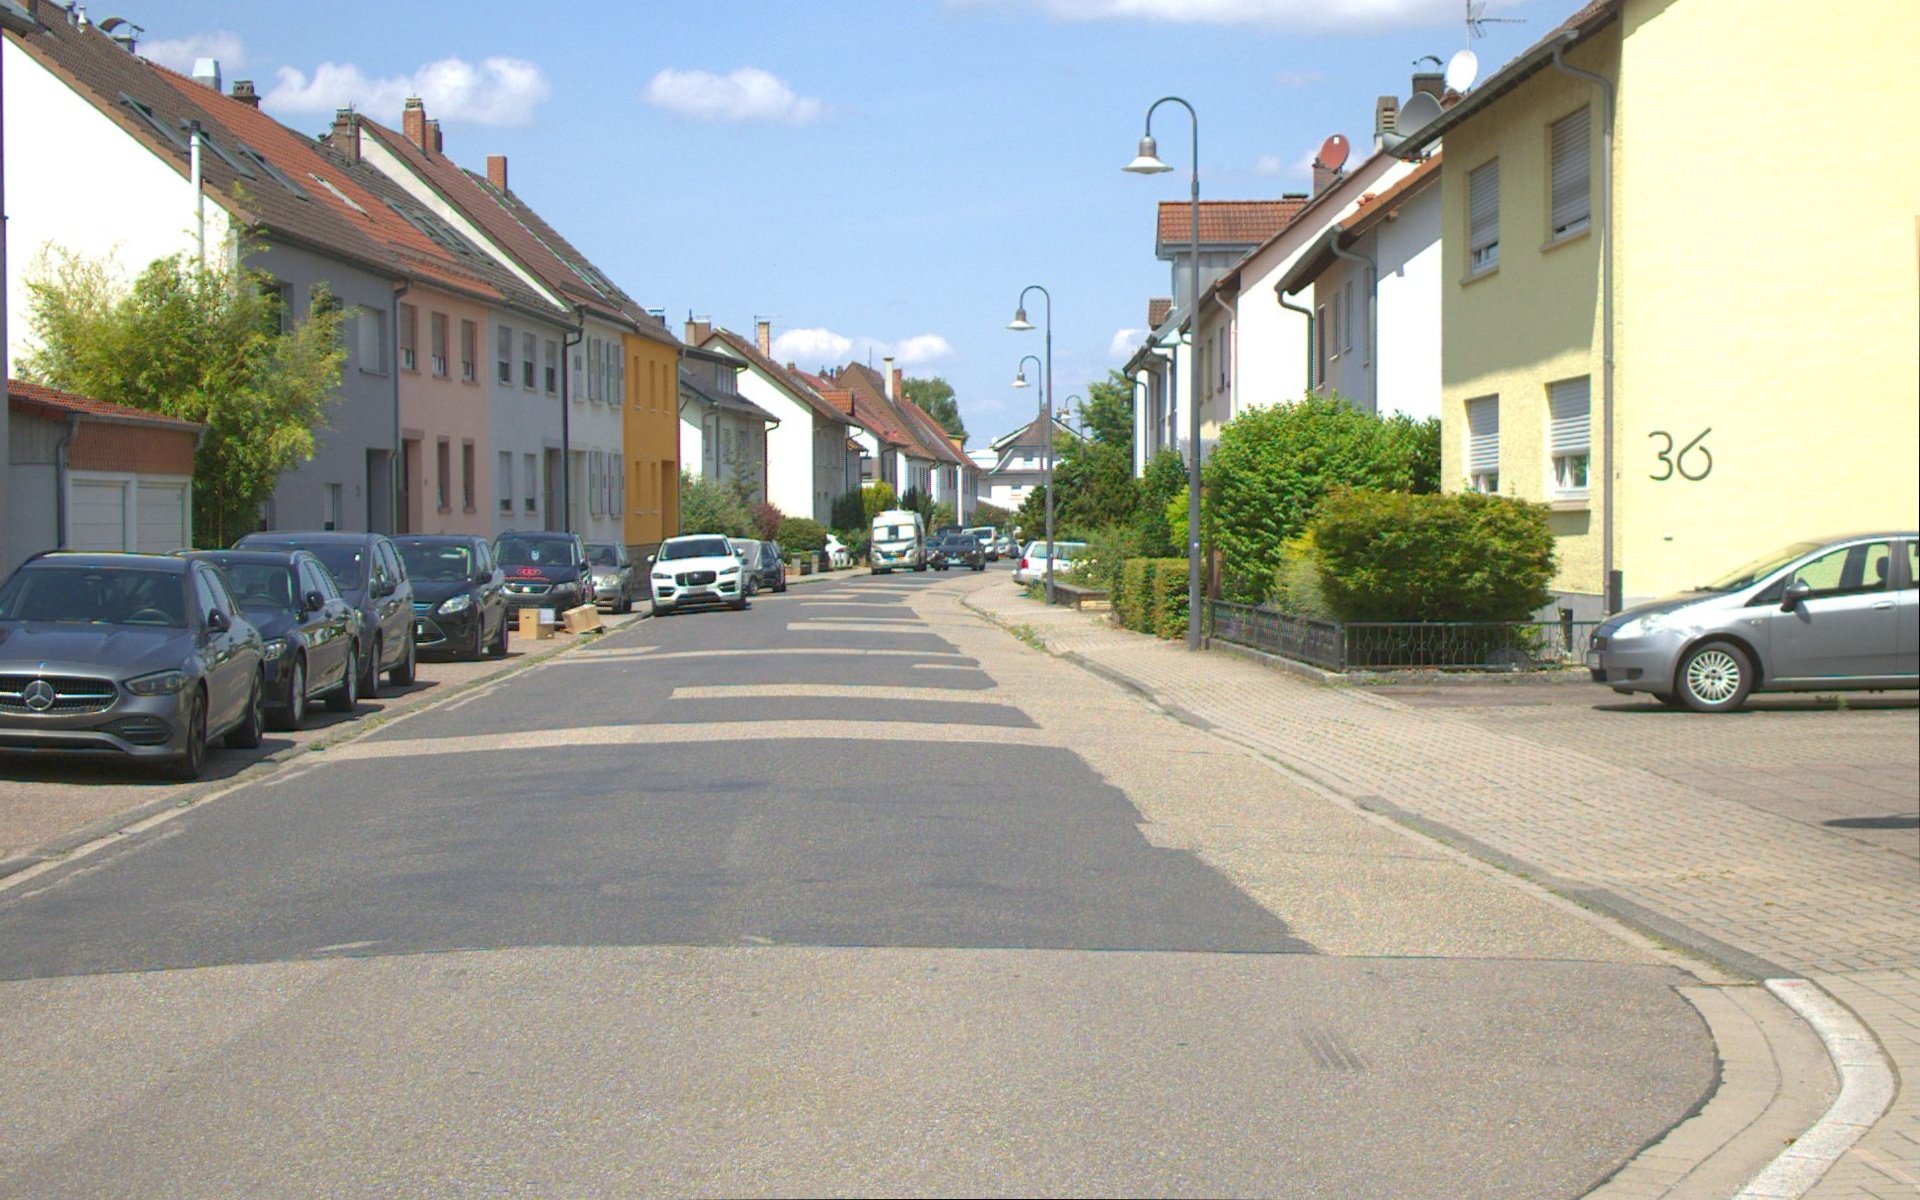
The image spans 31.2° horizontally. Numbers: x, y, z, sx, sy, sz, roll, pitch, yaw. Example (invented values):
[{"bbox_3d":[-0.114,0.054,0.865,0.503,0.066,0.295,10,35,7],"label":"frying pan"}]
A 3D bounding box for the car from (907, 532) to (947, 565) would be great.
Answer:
[{"bbox_3d":[-1.559,-2.453,164.760,1.691,1.498,3.771,1,0,3],"label":"car"}]

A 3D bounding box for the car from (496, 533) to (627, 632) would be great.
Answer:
[{"bbox_3d":[-6.873,-0.329,59.631,1.810,1.603,4.000,2,1,-1],"label":"car"}]

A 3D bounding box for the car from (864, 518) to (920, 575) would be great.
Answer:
[{"bbox_3d":[-2.811,-2.211,142.878,2.045,2.304,3.771,1,0,3],"label":"car"}]

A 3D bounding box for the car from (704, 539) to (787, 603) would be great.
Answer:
[{"bbox_3d":[-5.854,-0.801,94.209,1.850,1.653,4.000,2,1,2],"label":"car"}]

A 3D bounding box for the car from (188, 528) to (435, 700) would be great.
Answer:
[{"bbox_3d":[-6.563,0.106,35.168,1.779,1.603,4.000,2,1,-1],"label":"car"}]

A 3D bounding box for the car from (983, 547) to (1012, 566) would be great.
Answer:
[{"bbox_3d":[2.351,-2.737,214.766,1.691,1.129,3.771,1,0,3],"label":"car"}]

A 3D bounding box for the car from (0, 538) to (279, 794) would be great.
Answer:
[{"bbox_3d":[-5.960,0.384,23.875,1.816,1.428,4.140,3,2,-4],"label":"car"}]

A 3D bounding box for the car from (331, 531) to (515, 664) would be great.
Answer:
[{"bbox_3d":[-6.959,-0.064,44.869,1.779,1.603,4.000,2,1,-1],"label":"car"}]

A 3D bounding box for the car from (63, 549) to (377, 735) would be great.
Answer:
[{"bbox_3d":[-6.255,0.305,29.501,1.816,1.429,4.140,2,1,-1],"label":"car"}]

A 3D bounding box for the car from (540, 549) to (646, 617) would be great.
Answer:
[{"bbox_3d":[-7.633,-0.368,71.796,1.672,1.331,3.722,2,1,2],"label":"car"}]

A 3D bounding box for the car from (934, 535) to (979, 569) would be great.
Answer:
[{"bbox_3d":[-0.143,-1.974,142.874,1.691,1.337,3.771,1,0,3],"label":"car"}]

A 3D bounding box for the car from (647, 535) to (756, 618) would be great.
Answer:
[{"bbox_3d":[-5.448,-0.515,72.803,1.850,1.653,4.000,2,1,2],"label":"car"}]

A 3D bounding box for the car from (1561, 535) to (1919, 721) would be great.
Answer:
[{"bbox_3d":[7.160,0.206,28.631,3.987,1.468,1.746,-1,1,-1],"label":"car"}]

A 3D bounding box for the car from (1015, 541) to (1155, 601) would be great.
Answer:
[{"bbox_3d":[3.210,-0.758,88.755,3.523,1.459,1.628,1,0,0],"label":"car"}]
